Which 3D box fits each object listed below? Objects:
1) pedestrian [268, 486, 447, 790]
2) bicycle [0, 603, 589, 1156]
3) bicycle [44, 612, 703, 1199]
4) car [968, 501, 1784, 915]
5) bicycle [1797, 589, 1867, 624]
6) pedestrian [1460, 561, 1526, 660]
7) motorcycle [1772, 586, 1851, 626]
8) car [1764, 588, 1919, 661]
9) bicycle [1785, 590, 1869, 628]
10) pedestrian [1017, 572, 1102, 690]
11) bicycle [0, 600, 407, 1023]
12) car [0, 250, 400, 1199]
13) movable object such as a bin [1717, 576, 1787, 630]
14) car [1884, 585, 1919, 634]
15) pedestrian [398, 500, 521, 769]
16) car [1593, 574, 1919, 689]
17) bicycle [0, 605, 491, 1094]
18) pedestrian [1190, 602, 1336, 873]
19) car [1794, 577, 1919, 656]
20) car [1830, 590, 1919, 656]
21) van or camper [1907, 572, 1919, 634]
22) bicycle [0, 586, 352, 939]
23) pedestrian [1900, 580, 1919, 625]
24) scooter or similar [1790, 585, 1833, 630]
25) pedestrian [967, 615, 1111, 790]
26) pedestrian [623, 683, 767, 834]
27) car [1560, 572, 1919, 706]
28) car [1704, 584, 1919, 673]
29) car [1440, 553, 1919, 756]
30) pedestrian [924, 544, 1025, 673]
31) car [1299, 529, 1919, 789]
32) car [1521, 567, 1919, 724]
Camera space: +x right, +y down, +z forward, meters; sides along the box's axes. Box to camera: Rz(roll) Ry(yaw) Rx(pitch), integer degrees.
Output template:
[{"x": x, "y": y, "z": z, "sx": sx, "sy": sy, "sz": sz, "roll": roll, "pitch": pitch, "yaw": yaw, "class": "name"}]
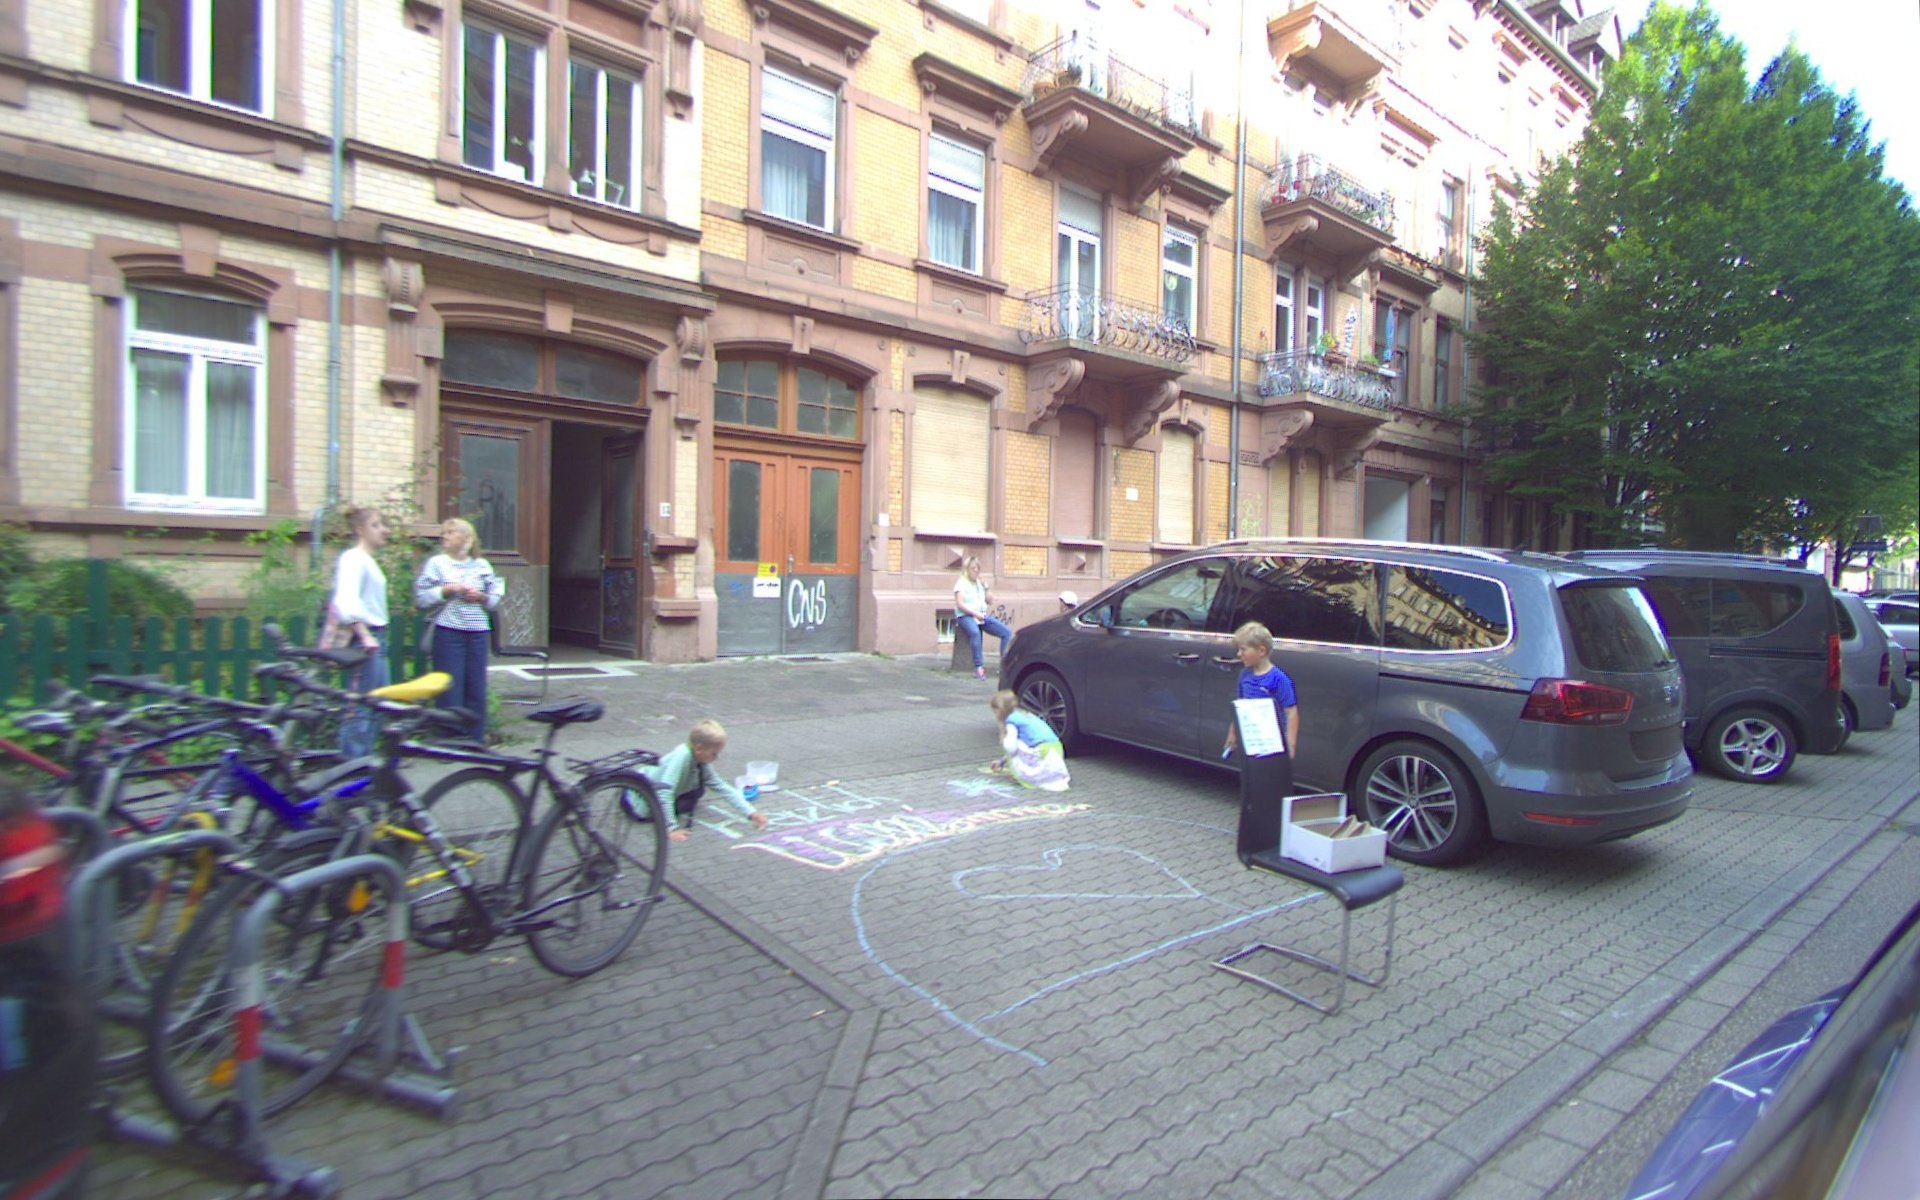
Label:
[{"x": -3.605, "y": 0.211, "z": 6.100, "sx": 0.637, "sy": 1.716, "sz": 0.698, "roll": 0, "pitch": 0, "yaw": 7, "class": "pedestrian"}, {"x": -1.978, "y": 0.640, "z": 3.241, "sx": 0.400, "sy": 1.197, "sz": 1.857, "roll": 2, "pitch": 2, "yaw": 18, "class": "bicycle"}, {"x": -1.481, "y": 0.676, "z": 3.019, "sx": 0.400, "sy": 1.197, "sz": 1.906, "roll": 2, "pitch": 2, "yaw": 18, "class": "bicycle"}, {"x": 2.290, "y": 0.335, "z": 6.747, "sx": 1.778, "sy": 1.807, "sz": 4.648, "roll": 3, "pitch": 2, "yaw": -40, "class": "car"}, {"x": 33.065, "y": 0.240, "z": 38.403, "sx": 0.607, "sy": 1.133, "sz": 1.895, "roll": 0, "pitch": 5, "yaw": -42, "class": "bicycle"}, {"x": 9.294, "y": 0.164, "z": 17.655, "sx": 0.819, "sy": 1.654, "sz": 0.732, "roll": -1, "pitch": 3, "yaw": -42, "class": "pedestrian"}, {"x": 30.391, "y": 0.212, "z": 36.141, "sx": 0.813, "sy": 1.241, "sz": 1.984, "roll": 0, "pitch": 5, "yaw": -41, "class": "motorcycle"}, {"x": 19.986, "y": 0.528, "z": 21.495, "sx": 4.079, "sy": 1.435, "sz": 1.860, "roll": 2, "pitch": 1, "yaw": 15, "class": "car"}, {"x": 30.131, "y": 0.286, "z": 35.197, "sx": 0.806, "sy": 1.108, "sz": 2.026, "roll": 0, "pitch": 5, "yaw": -40, "class": "bicycle"}, {"x": 1.113, "y": 0.329, "z": 11.332, "sx": 0.661, "sy": 1.234, "sz": 0.602, "roll": 0, "pitch": 3, "yaw": -40, "class": "pedestrian"}, {"x": -2.839, "y": 0.626, "z": 3.484, "sx": 0.400, "sy": 1.197, "sz": 1.857, "roll": 2, "pitch": 2, "yaw": 18, "class": "bicycle"}, {"x": -3.363, "y": 0.434, "z": 1.432, "sx": 4.395, "sy": 1.754, "sz": 1.990, "roll": 1, "pitch": 0, "yaw": 16, "class": "car"}, {"x": 24.792, "y": 0.073, "z": 31.700, "sx": 1.144, "sy": 1.476, "sz": 1.376, "roll": 0, "pitch": 8, "yaw": -42, "class": "movable object such as a bin"}, {"x": 34.336, "y": 0.431, "z": 33.762, "sx": 4.746, "sy": 1.562, "sz": 1.860, "roll": 3, "pitch": 3, "yaw": 19, "class": "car"}, {"x": -3.337, "y": 0.211, "z": 6.742, "sx": 0.621, "sy": 1.680, "sz": 0.574, "roll": 0, "pitch": 0, "yaw": -39, "class": "pedestrian"}, {"x": 12.763, "y": 0.439, "z": 16.227, "sx": 3.943, "sy": 1.478, "sz": 1.880, "roll": 3, "pitch": 3, "yaw": 15, "class": "car"}, {"x": -2.416, "y": 0.648, "z": 3.338, "sx": 0.400, "sy": 1.197, "sz": 1.857, "roll": 2, "pitch": 2, "yaw": 18, "class": "bicycle"}, {"x": 1.567, "y": 0.673, "z": 5.240, "sx": 0.470, "sy": 1.266, "sz": 0.501, "roll": 7, "pitch": 6, "yaw": 42, "class": "pedestrian"}, {"x": 22.145, "y": 0.402, "z": 23.401, "sx": 3.944, "sy": 1.720, "sz": 1.843, "roll": 2, "pitch": 1, "yaw": 16, "class": "car"}, {"x": 24.444, "y": 0.549, "z": 24.975, "sx": 4.065, "sy": 1.540, "sz": 1.837, "roll": 0, "pitch": 1, "yaw": 14, "class": "car"}, {"x": 36.201, "y": 0.120, "z": 35.431, "sx": 3.950, "sy": 2.206, "sz": 1.987, "roll": 0, "pitch": 0, "yaw": 21, "class": "van or camper"}, {"x": -3.500, "y": 0.550, "z": 3.880, "sx": 0.800, "sy": 1.160, "sz": 1.922, "roll": 2, "pitch": 2, "yaw": 21, "class": "bicycle"}, {"x": 39.124, "y": 0.108, "z": 41.458, "sx": 0.937, "sy": 1.759, "sz": 0.753, "roll": 0, "pitch": 4, "yaw": -44, "class": "pedestrian"}, {"x": 26.482, "y": 0.228, "z": 31.479, "sx": 1.294, "sy": 1.397, "sz": 0.525, "roll": 0, "pitch": 0, "yaw": -26, "class": "scooter or similar"}, {"x": 0.515, "y": 0.638, "z": 6.673, "sx": 0.673, "sy": 1.033, "sz": 0.641, "roll": 0, "pitch": 2, "yaw": -34, "class": "pedestrian"}, {"x": -1.437, "y": 0.830, "z": 5.457, "sx": 0.684, "sy": 0.672, "sz": 0.490, "roll": 0, "pitch": 3, "yaw": -22, "class": "pedestrian"}, {"x": 11.110, "y": 0.480, "z": 14.479, "sx": 3.949, "sy": 1.468, "sz": 1.727, "roll": 4, "pitch": 4, "yaw": 19, "class": "car"}, {"x": 17.394, "y": 0.546, "z": 19.467, "sx": 4.553, "sy": 1.469, "sz": 1.782, "roll": 3, "pitch": 2, "yaw": 19, "class": "car"}, {"x": 7.424, "y": 0.454, "z": 10.757, "sx": 3.950, "sy": 1.762, "sz": 1.828, "roll": 3, "pitch": 2, "yaw": 20, "class": "car"}, {"x": 0.181, "y": 0.083, "z": 12.607, "sx": 0.928, "sy": 1.515, "sz": 0.799, "roll": 3, "pitch": 2, "yaw": 44, "class": "pedestrian"}, {"x": 5.419, "y": 0.371, "z": 9.205, "sx": 4.348, "sy": 1.844, "sz": 1.745, "roll": 3, "pitch": 3, "yaw": 19, "class": "car"}, {"x": 9.414, "y": 0.475, "z": 12.451, "sx": 3.941, "sy": 1.567, "sz": 1.862, "roll": 3, "pitch": 2, "yaw": 14, "class": "car"}]
